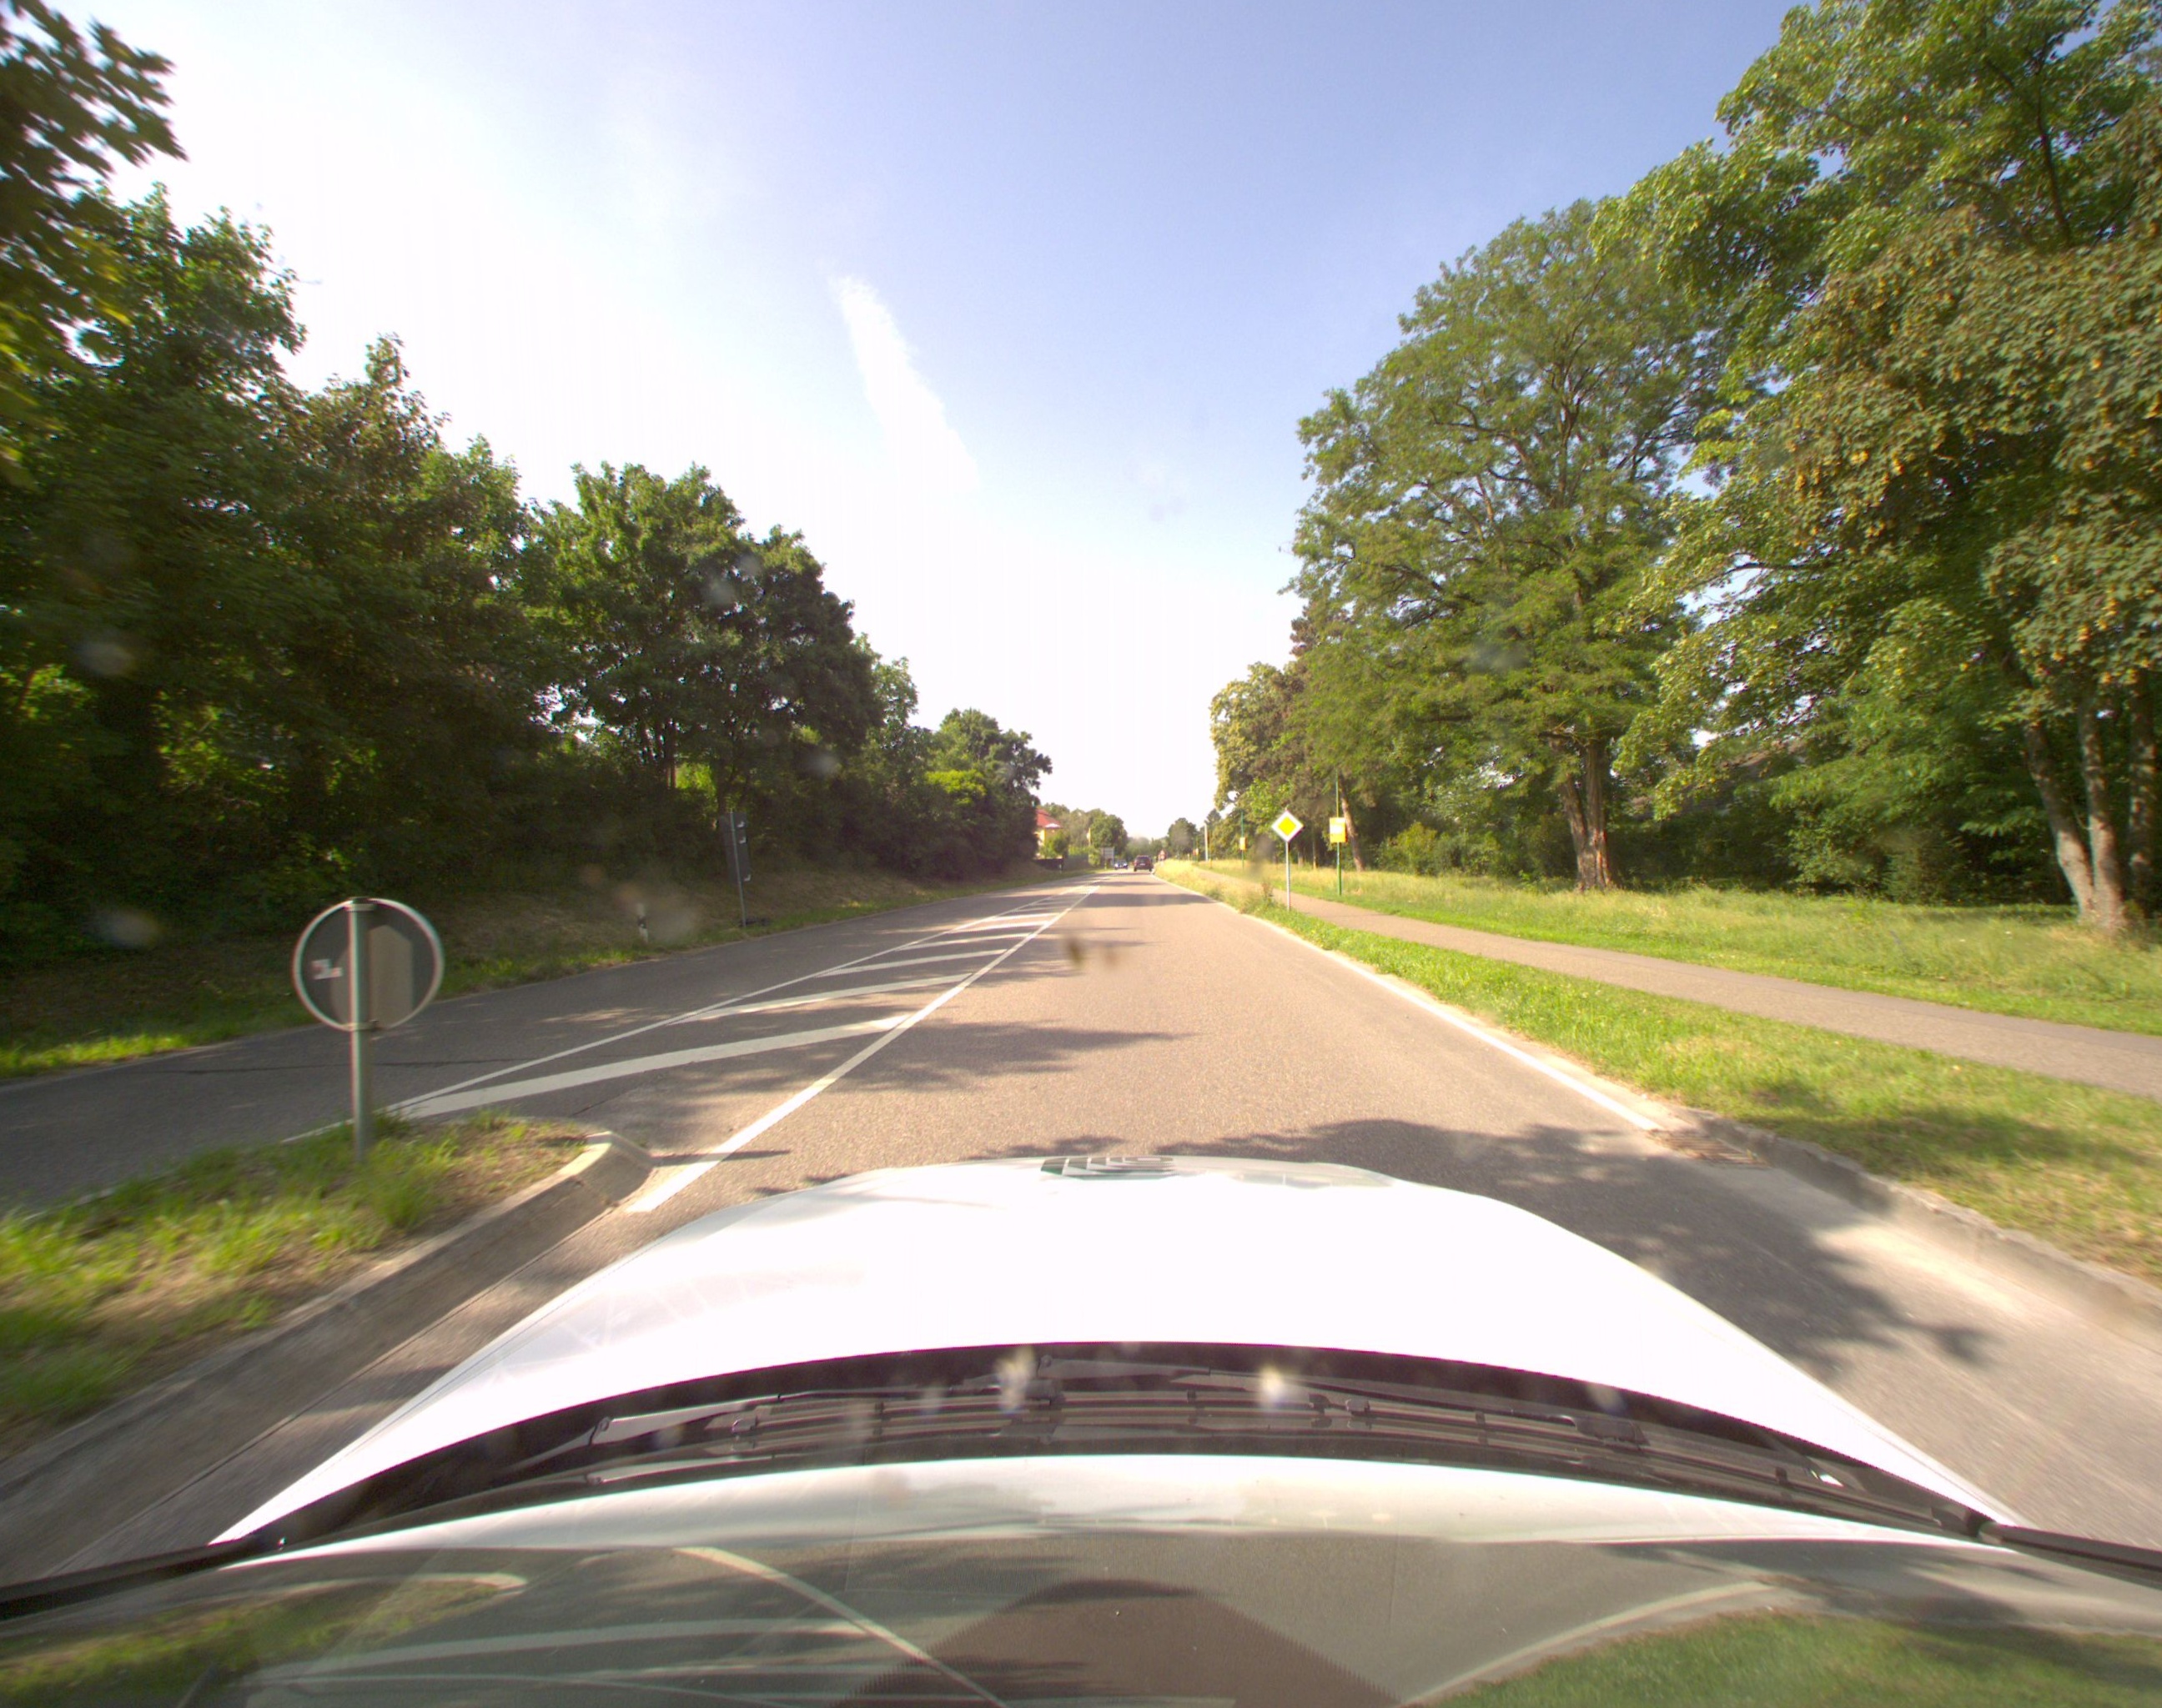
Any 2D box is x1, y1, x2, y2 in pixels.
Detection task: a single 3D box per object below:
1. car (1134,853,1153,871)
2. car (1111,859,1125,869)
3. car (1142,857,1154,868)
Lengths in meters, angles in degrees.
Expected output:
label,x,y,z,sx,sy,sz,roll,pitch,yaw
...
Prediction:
label,x,y,z,sx,sy,sz,roll,pitch,yaw
car,6.685,0.847,87.932,1.917,1.771,4.003,-1,0,3
car,5.487,1.483,121.370,1.861,1.423,4.582,-4,0,4
car,10.280,1.315,124.819,1.729,1.516,3.917,-1,0,2
